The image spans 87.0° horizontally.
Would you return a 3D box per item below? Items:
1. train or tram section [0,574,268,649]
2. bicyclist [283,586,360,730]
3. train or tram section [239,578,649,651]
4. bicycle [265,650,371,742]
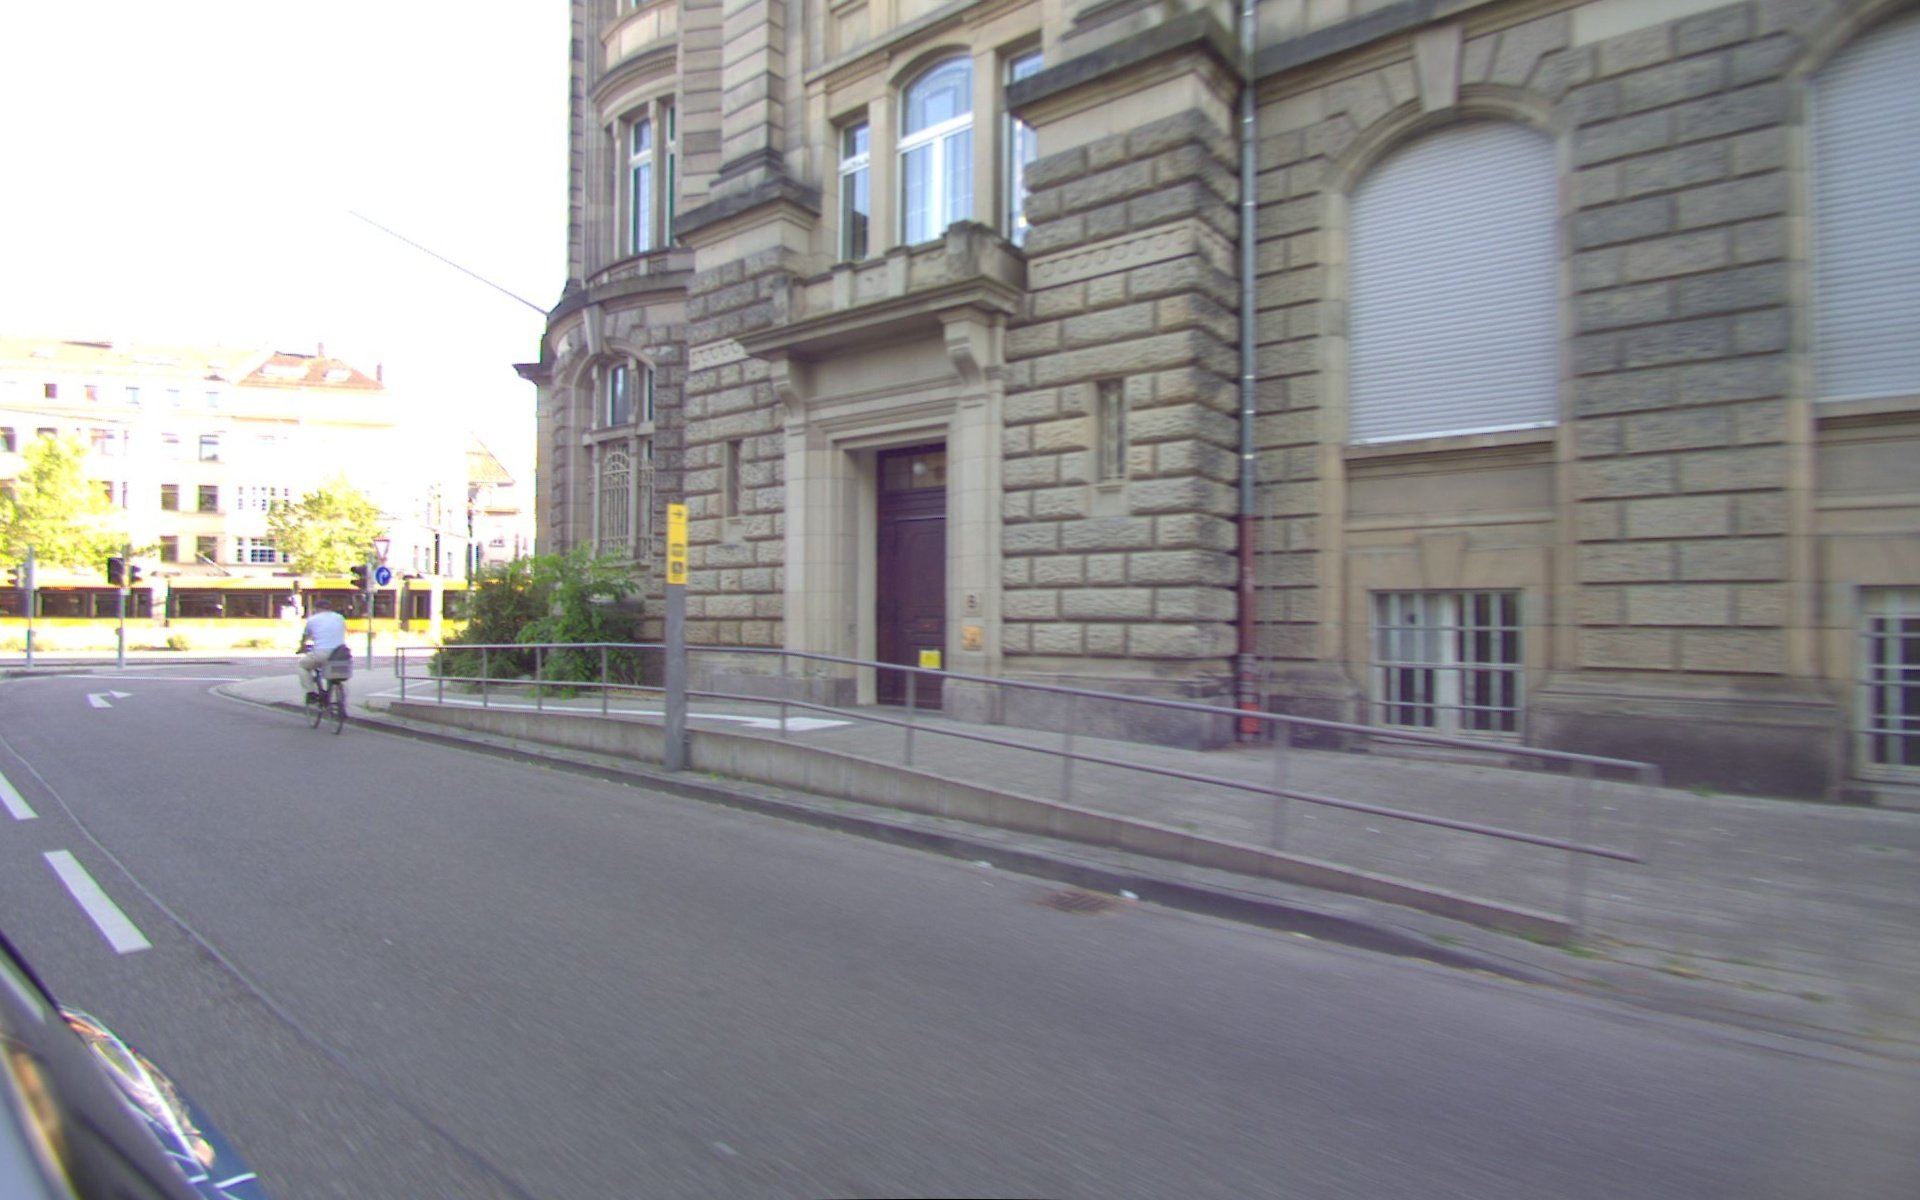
[{"bbox_3d":[-44.990,0.618,50.448,17.180,3.586,3.131,1,-2,-16],"label":"train or tram section"},{"bbox_3d":[-8.395,0.745,13.300,0.780,1.821,0.638,-1,-2,43],"label":"bicyclist"},{"bbox_3d":[-27.196,0.869,54.786,19.603,3.586,3.130,1,-2,-12],"label":"train or tram section"},{"bbox_3d":[-8.522,1.225,13.395,2.153,1.078,0.655,-1,-2,43],"label":"bicycle"}]
